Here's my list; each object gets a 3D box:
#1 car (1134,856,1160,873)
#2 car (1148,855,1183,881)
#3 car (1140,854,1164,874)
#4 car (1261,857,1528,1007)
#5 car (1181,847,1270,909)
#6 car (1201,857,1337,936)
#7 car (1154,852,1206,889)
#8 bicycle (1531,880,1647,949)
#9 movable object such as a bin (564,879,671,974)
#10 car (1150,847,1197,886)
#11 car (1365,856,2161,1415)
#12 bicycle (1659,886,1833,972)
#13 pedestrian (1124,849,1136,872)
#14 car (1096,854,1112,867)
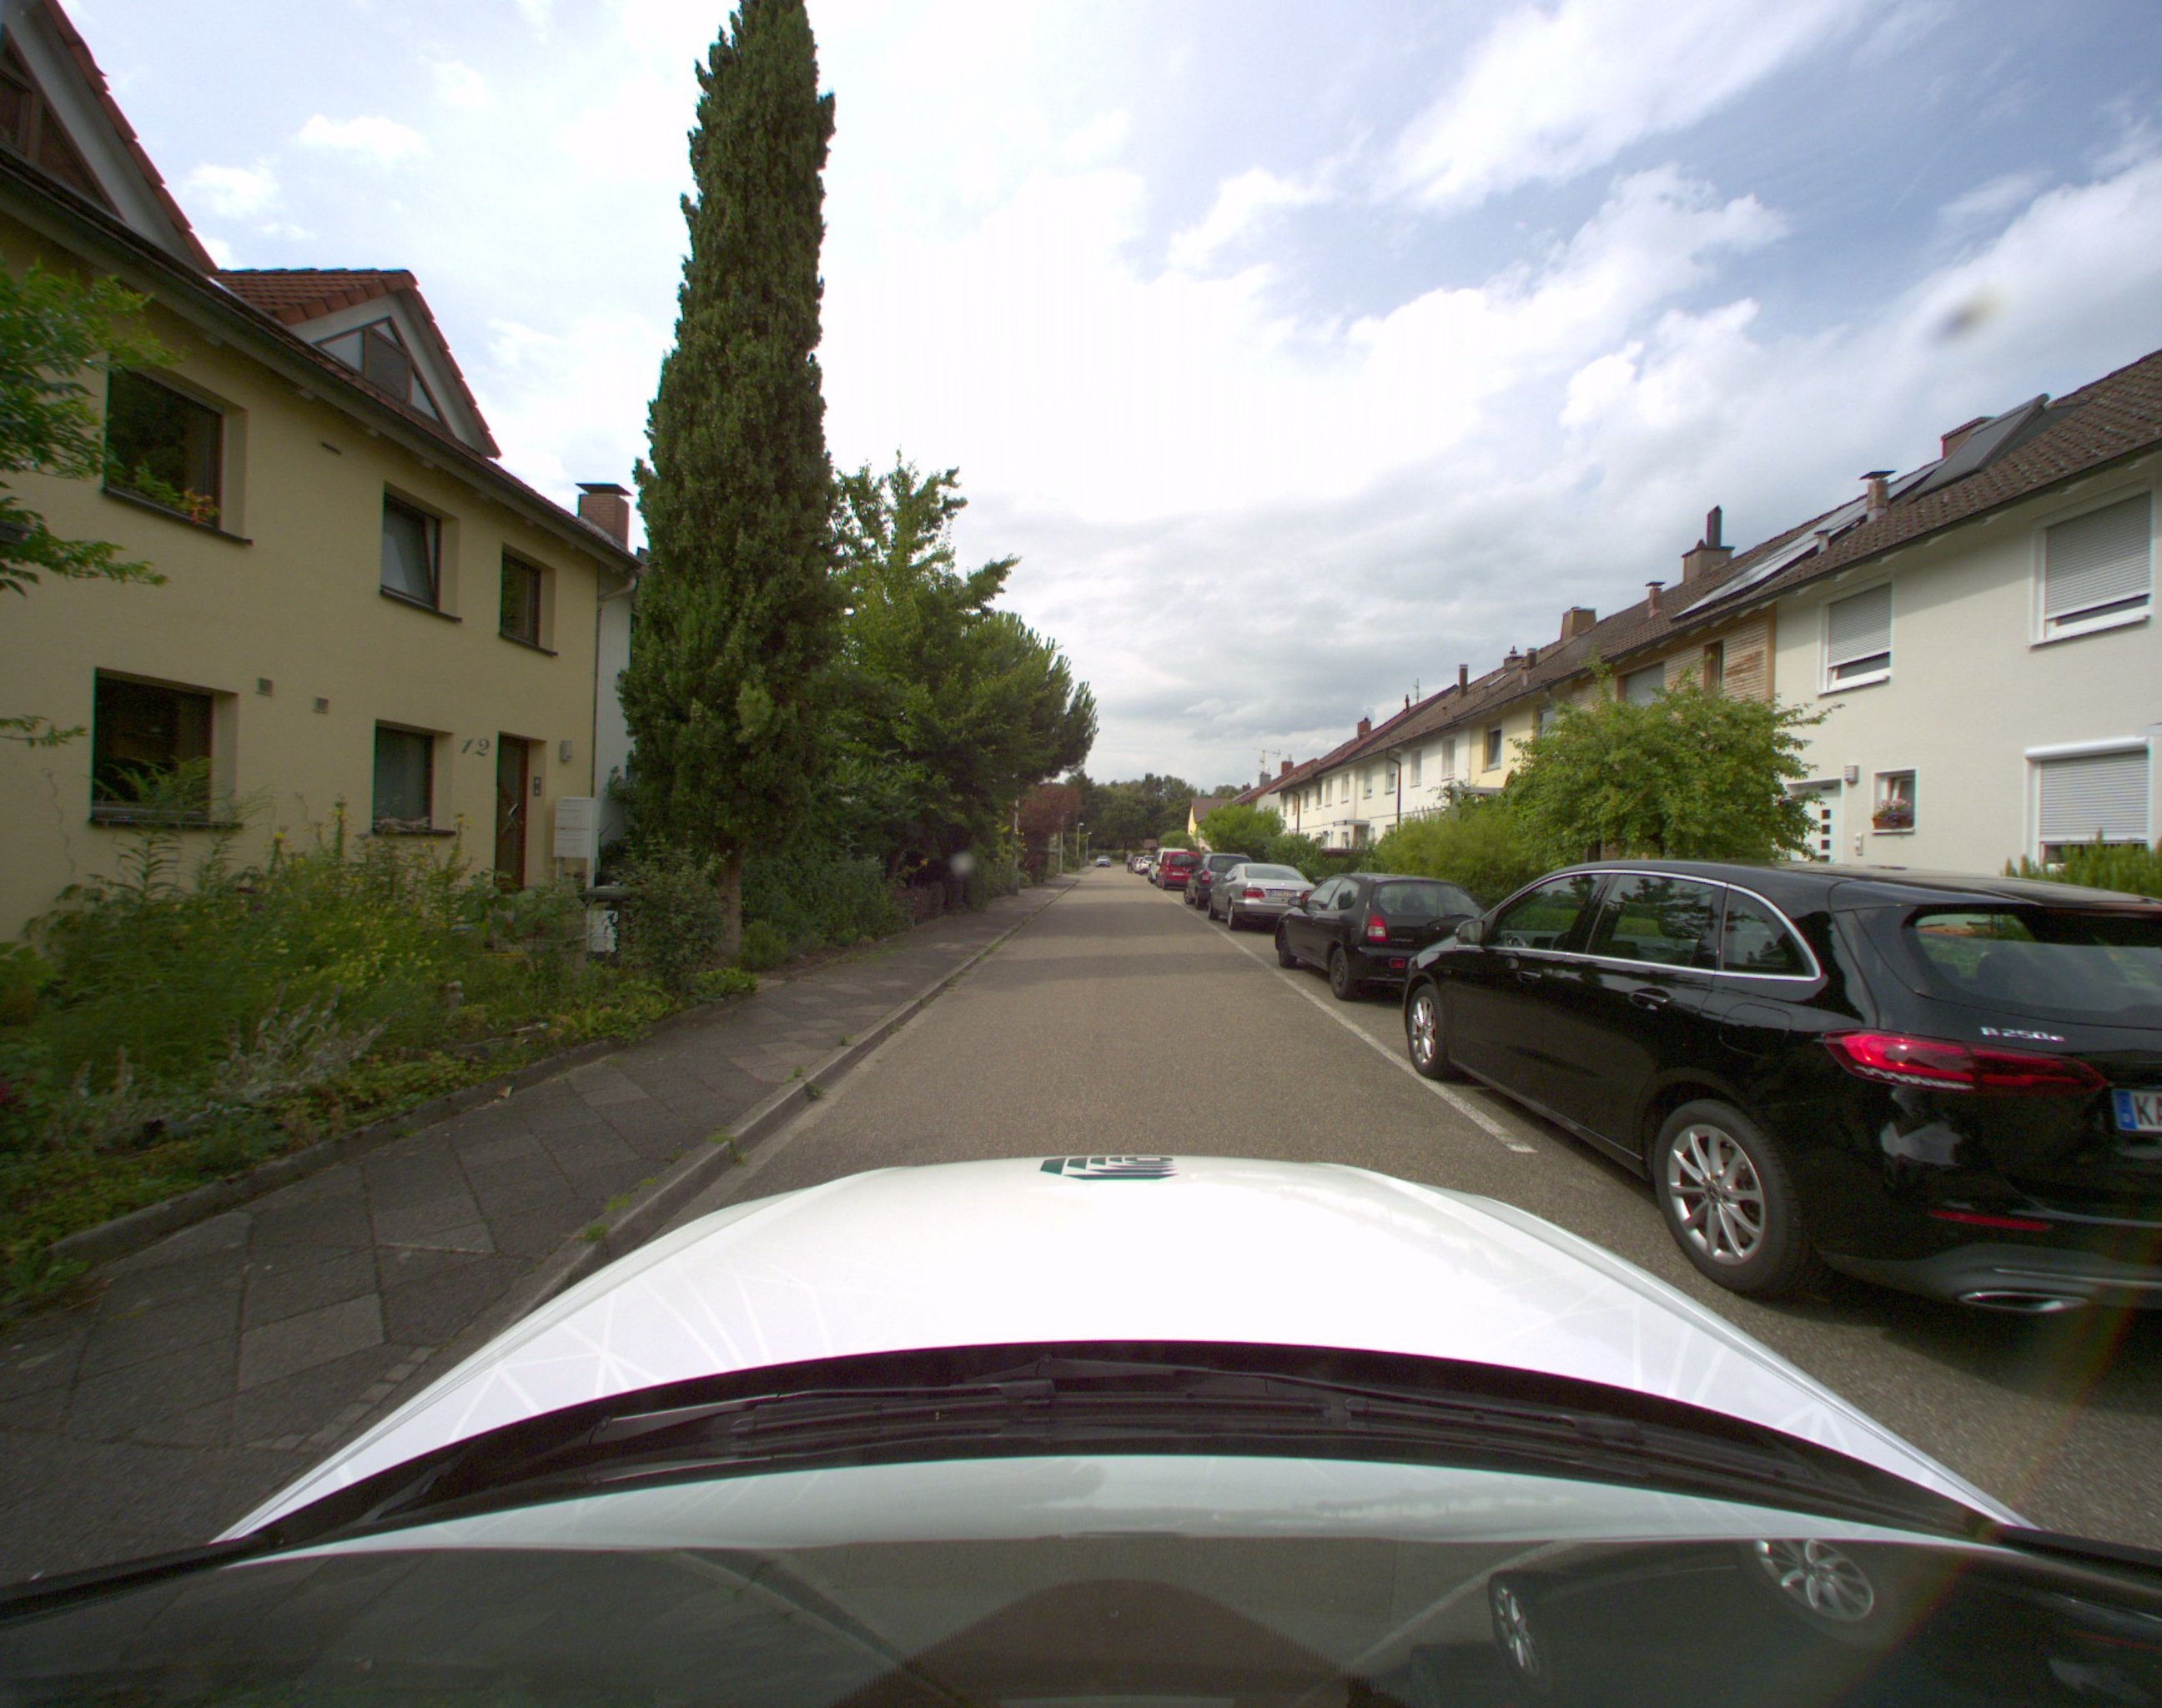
[{"bbox_3d":[5.686,0.866,70.827,1.832,1.413,4.635,1,0,0],"label":"car"},{"bbox_3d":[5.018,0.808,48.726,1.893,1.459,4.132,1,0,3],"label":"car"},{"bbox_3d":[5.497,0.752,63.177,1.707,1.543,3.976,0,0,2],"label":"car"},{"bbox_3d":[3.571,0.785,10.151,1.727,1.428,4.125,1,0,0],"label":"car"},{"bbox_3d":[4.214,0.661,24.453,1.861,1.653,4.464,1,0,0],"label":"car"},{"bbox_3d":[3.953,0.825,18.014,1.861,1.407,4.767,3,0,0],"label":"car"},{"bbox_3d":[4.616,0.742,38.625,1.805,1.651,4.408,1,0,-1],"label":"car"},{"bbox_3d":[7.950,0.936,12.779,1.530,1.023,0.377,1,0,7],"label":"bicycle"},{"bbox_3d":[-5.050,0.773,8.918,0.709,0.956,0.751,1,0,2],"label":"movable object such as a bin"},{"bbox_3d":[4.884,0.636,43.622,2.014,1.947,4.747,1,0,0],"label":"car"},{"bbox_3d":[3.189,0.770,4.499,1.742,1.467,4.650,1,0,2],"label":"car"},{"bbox_3d":[8.859,0.960,10.936,0.661,0.982,1.742,0,0,-17],"label":"bicycle"},{"bbox_3d":[4.259,0.557,70.283,0.910,2.013,0.950,1,0,-3],"label":"pedestrian"},{"bbox_3d":[3.059,0.837,108.191,1.926,1.556,4.637,1,0,3],"label":"car"}]
